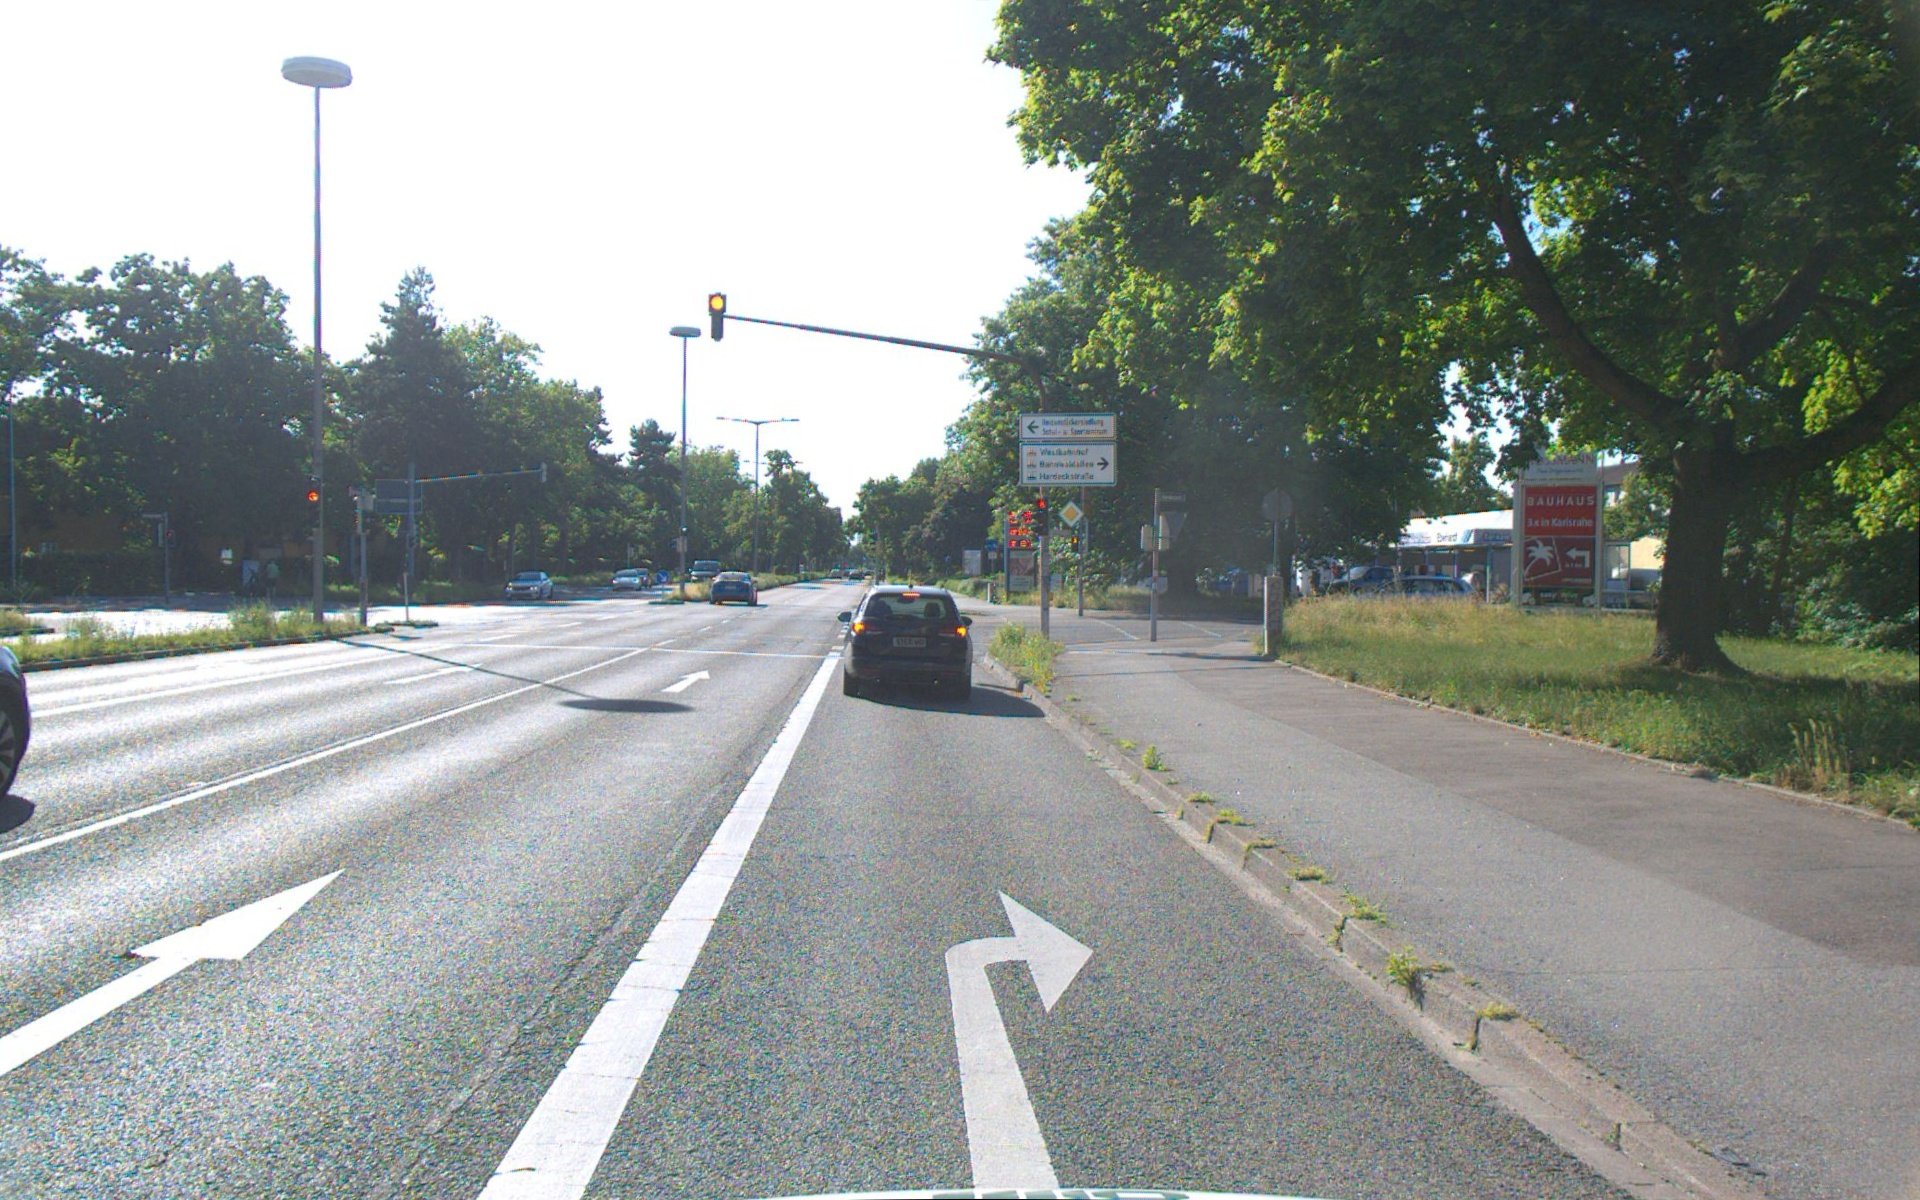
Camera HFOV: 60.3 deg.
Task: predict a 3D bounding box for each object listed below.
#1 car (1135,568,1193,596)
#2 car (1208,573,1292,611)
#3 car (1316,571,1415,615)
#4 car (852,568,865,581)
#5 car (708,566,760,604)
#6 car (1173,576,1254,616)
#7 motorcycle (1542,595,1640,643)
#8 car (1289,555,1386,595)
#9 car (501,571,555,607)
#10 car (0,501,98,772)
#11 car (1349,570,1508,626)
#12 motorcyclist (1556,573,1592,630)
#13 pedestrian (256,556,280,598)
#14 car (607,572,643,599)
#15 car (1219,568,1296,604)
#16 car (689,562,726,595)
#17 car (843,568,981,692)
[{"bbox_3d":[14.190,-1.224,115.041,3.640,1.714,1.702,4,-1,-6],"label":"car"},{"bbox_3d":[13.992,-0.380,79.814,3.804,1.590,1.783,4,-1,-35],"label":"car"},{"bbox_3d":[17.437,-0.302,71.115,3.783,1.639,1.793,4,-1,-22],"label":"car"},{"bbox_3d":[-14.190,-3.573,231.531,1.698,1.612,3.838,4,0,-3],"label":"car"},{"bbox_3d":[-9.889,-0.648,72.587,1.851,1.579,3.998,1,0,-3],"label":"car"},{"bbox_3d":[12.590,-0.208,82.105,3.671,1.714,1.688,4,-1,-29],"label":"car"},{"bbox_3d":[19.406,0.573,50.904,2.667,1.292,0.835,4,-1,13],"label":"motorcycle"},{"bbox_3d":[16.640,-1.097,72.911,3.783,1.508,1.793,4,-1,-22],"label":"car"},{"bbox_3d":[-22.670,-0.545,86.939,1.827,1.713,4.258,4,0,-3],"label":"car"},{"bbox_3d":[-6.640,0.204,9.042,1.662,1.660,4.415,2,0,-3],"label":"car"},{"bbox_3d":[14.565,-0.046,51.617,4.520,1.601,2.001,1,-1,8],"label":"car"},{"bbox_3d":[18.935,0.058,51.020,0.842,1.709,0.835,3,-1,13],"label":"motorcyclist"},{"bbox_3d":[-30.578,-1.009,73.110,0.828,1.867,0.550,0,1,1],"label":"pedestrian"},{"bbox_3d":[-23.328,-0.973,115.274,1.827,1.713,3.998,4,0,-3],"label":"car"},{"bbox_3d":[15.869,-0.734,88.372,3.640,1.714,1.702,4,-1,-6],"label":"car"},{"bbox_3d":[-17.286,-1.448,113.379,1.954,2.048,3.998,4,0,-3],"label":"car"},{"bbox_3d":[-0.715,0.396,23.279,1.721,1.535,3.806,2,0,-3],"label":"car"}]
